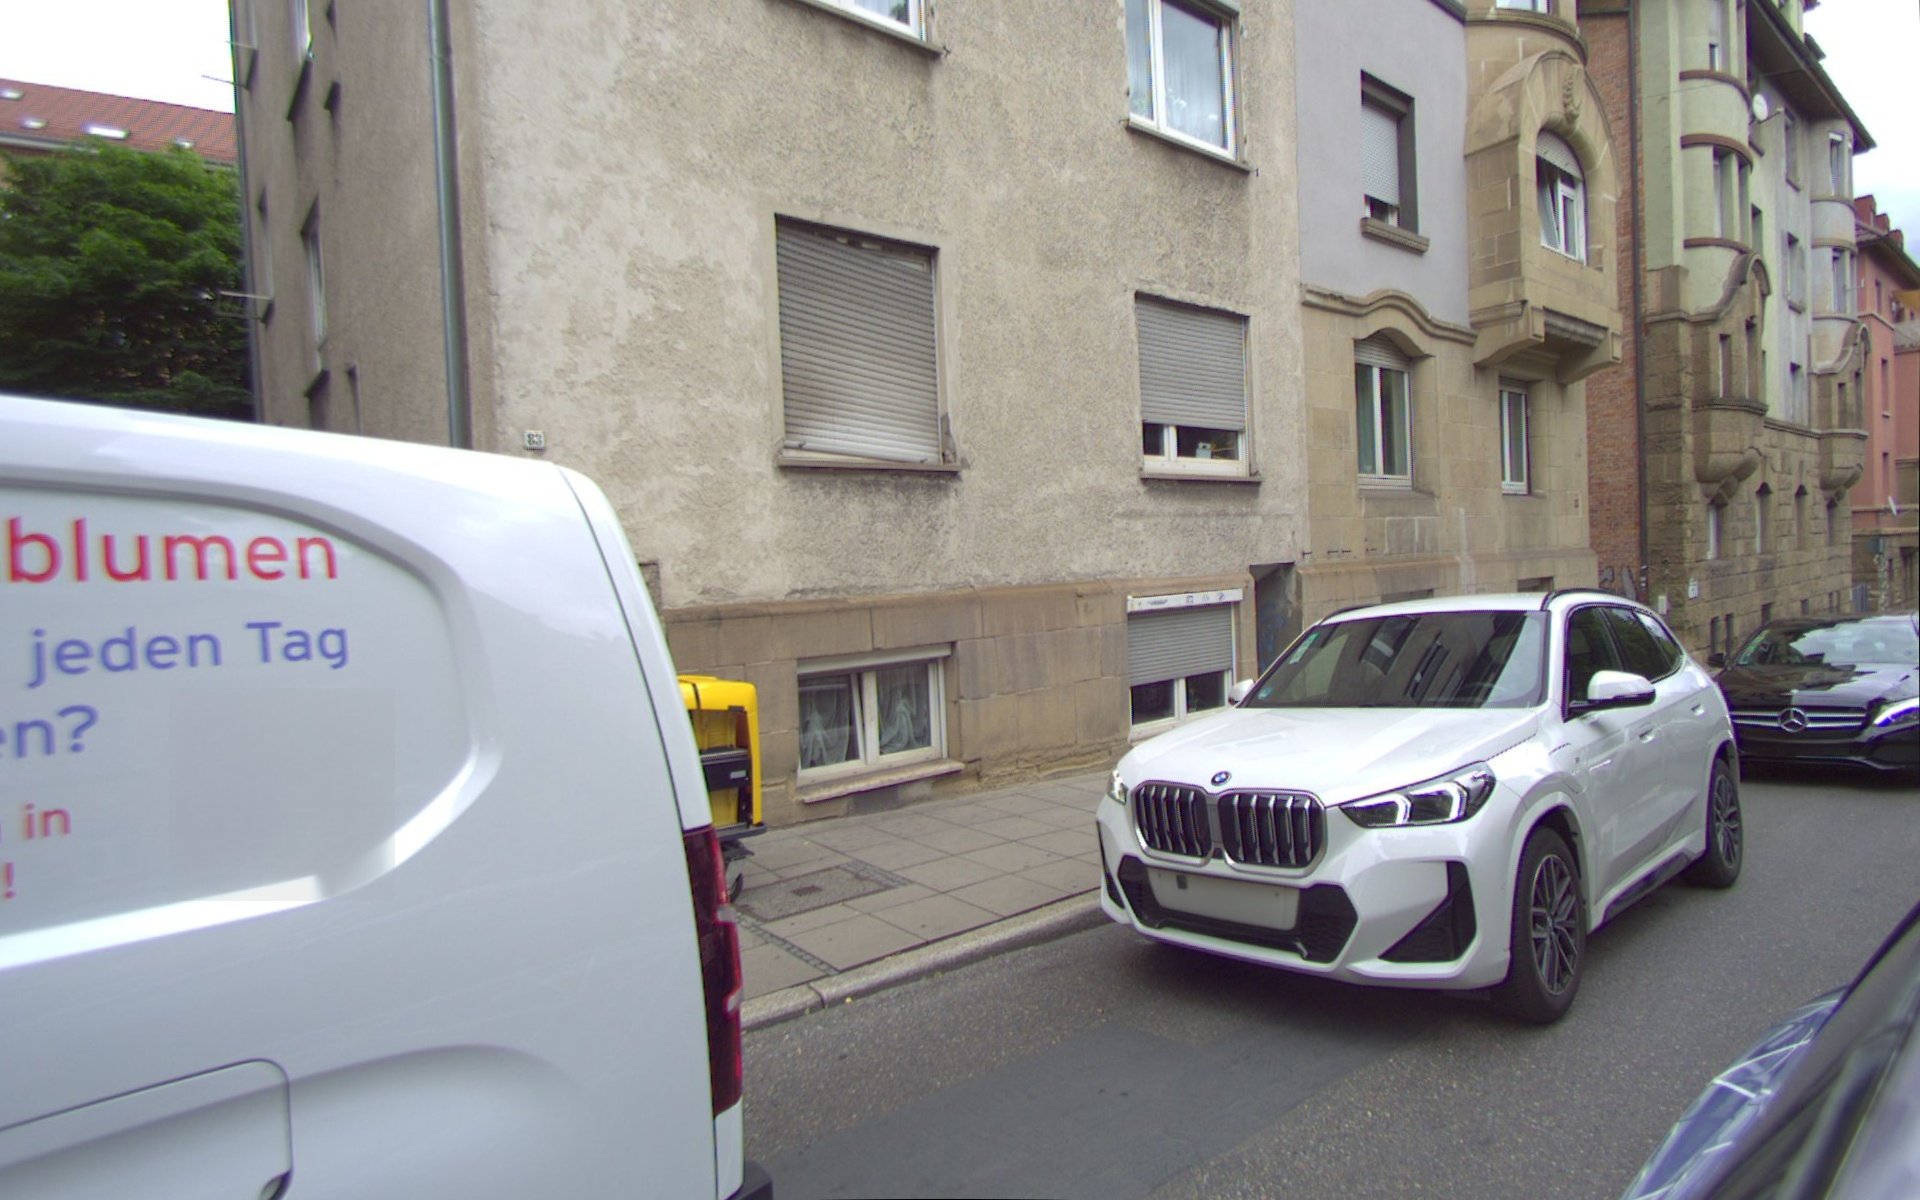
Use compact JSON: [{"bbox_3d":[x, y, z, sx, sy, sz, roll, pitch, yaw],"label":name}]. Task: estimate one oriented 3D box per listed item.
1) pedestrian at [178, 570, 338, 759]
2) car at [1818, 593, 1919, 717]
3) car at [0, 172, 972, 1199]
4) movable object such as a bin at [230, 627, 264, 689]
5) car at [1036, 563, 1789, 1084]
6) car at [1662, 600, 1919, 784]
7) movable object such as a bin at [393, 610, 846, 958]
[{"bbox_3d":[-6.654,0.595,9.634,0.799,1.666,0.782,-3,4,13],"label":"pedestrian"},{"bbox_3d":[13.607,0.662,13.948,4.226,1.534,1.935,-1,-3,-40],"label":"car"},{"bbox_3d":[-2.349,0.558,0.900,4.597,1.798,1.977,-1,-3,-42],"label":"car"},{"bbox_3d":[-10.988,0.880,15.588,0.405,0.923,0.340,0,0,-40],"label":"movable object such as a bin"},{"bbox_3d":[2.584,0.715,5.217,4.276,1.576,1.857,-1,-4,-42],"label":"car"},{"bbox_3d":[8.467,0.733,9.645,4.133,1.395,1.882,-1,-3,-41],"label":"car"},{"bbox_3d":[-1.769,0.790,5.402,1.979,1.391,1.223,-1,2,-43],"label":"movable object such as a bin"}]
